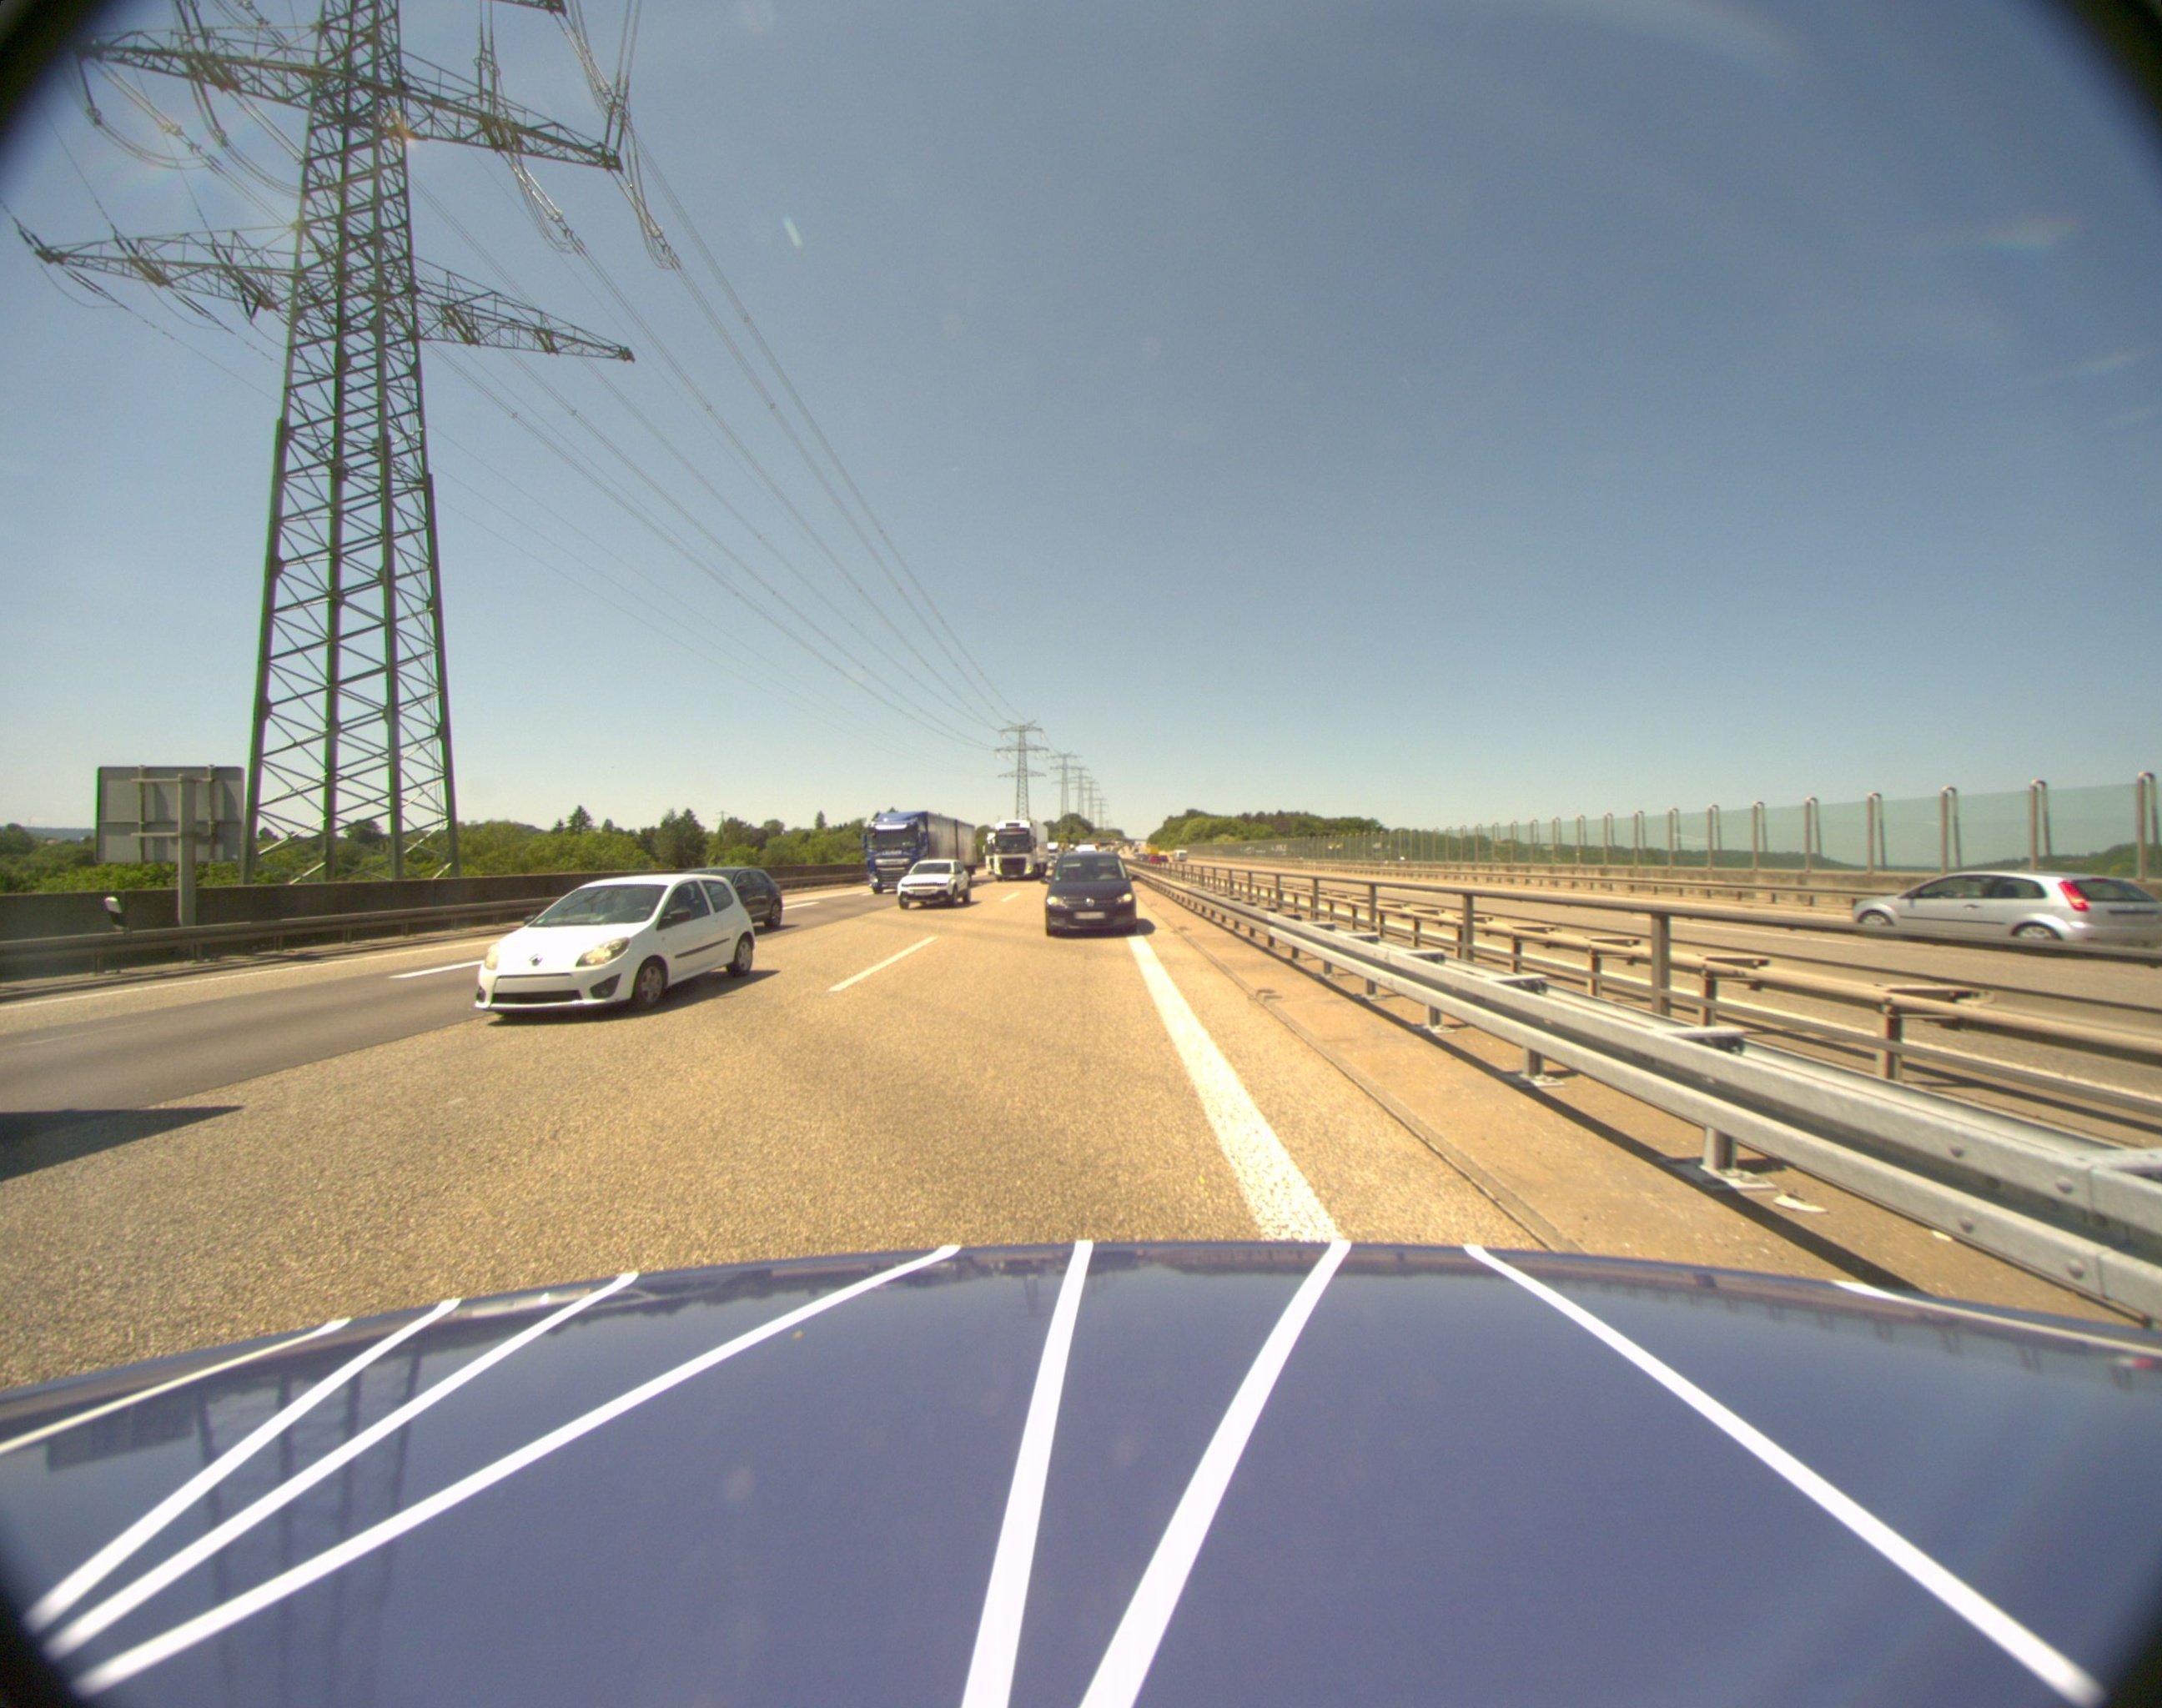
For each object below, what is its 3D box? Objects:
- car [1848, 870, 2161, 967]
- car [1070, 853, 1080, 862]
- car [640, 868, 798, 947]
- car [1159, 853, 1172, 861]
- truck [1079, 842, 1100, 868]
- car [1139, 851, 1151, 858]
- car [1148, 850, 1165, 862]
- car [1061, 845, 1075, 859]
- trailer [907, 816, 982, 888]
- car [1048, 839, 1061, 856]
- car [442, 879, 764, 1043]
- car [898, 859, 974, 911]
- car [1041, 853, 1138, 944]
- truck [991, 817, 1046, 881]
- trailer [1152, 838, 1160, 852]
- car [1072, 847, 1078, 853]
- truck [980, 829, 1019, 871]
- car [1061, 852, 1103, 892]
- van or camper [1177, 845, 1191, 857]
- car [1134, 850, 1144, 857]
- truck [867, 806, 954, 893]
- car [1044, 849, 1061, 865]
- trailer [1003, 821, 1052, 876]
[{"bbox_3d":[16.434,1.046,13.647,1.608,1.386,3.676,0,0,1],"label":"car"},{"bbox_3d":[-1.162,0.624,152.139,1.701,1.599,3.639,-2,1,1],"label":"car"},{"bbox_3d":[-8.220,1.148,17.663,1.709,1.497,3.888,-2,0,1],"label":"car"},{"bbox_3d":[15.238,0.519,137.006,1.805,1.378,4.263,0,1,1],"label":"car"},{"bbox_3d":[0.972,0.064,83.713,2.100,2.700,5.864,-2,1,1],"label":"truck"},{"bbox_3d":[11.184,0.063,133.106,1.901,1.307,4.372,0,0,1],"label":"car"},{"bbox_3d":[9.954,0.197,100.651,1.846,1.438,4.418,-2,1,1],"label":"car"},{"bbox_3d":[-2.013,-0.282,118.211,1.998,2.002,3.999,-2,1,1],"label":"car"},{"bbox_3d":[-8.434,-0.205,48.477,2.543,3.971,10.884,-2,1,1],"label":"trailer"},{"bbox_3d":[-5.458,-1.331,155.454,2.273,3.303,6.288,-2,1,0],"label":"car"},{"bbox_3d":[-5.466,1.115,9.300,1.584,1.432,3.629,-2,0,0],"label":"car"},{"bbox_3d":[-4.709,0.961,25.151,1.722,1.526,3.753,-2,0,0],"label":"car"},{"bbox_3d":[0.162,0.810,15.902,1.739,1.607,3.911,-2,0,0],"label":"car"},{"bbox_3d":[-4.082,-0.352,51.046,2.914,3.869,6.739,-2,1,0],"label":"truck"},{"bbox_3d":[22.732,-2.590,230.870,2.428,4.040,13.806,0,0,5],"label":"trailer"},{"bbox_3d":[-1.922,-1.205,237.131,1.701,1.599,3.639,-2,1,1],"label":"car"},{"bbox_3d":[-8.053,-0.421,75.841,2.914,3.869,6.739,-2,1,0],"label":"truck"},{"bbox_3d":[0.050,0.731,33.347,1.685,1.607,3.642,-2,0,0],"label":"car"},{"bbox_3d":[19.684,-0.551,145.472,1.998,2.199,5.536,1,1,0],"label":"van or camper"},{"bbox_3d":[12.022,-0.064,157.861,1.845,1.520,3.558,0,0,1],"label":"car"},{"bbox_3d":[-8.530,-0.220,39.033,2.517,3.945,7.927,-2,0,1],"label":"truck"},{"bbox_3d":[-3.168,0.327,85.997,1.672,1.761,3.846,-2,1,1],"label":"car"},{"bbox_3d":[-4.026,-0.453,59.316,2.898,3.847,9.773,-2,1,1],"label":"trailer"}]
